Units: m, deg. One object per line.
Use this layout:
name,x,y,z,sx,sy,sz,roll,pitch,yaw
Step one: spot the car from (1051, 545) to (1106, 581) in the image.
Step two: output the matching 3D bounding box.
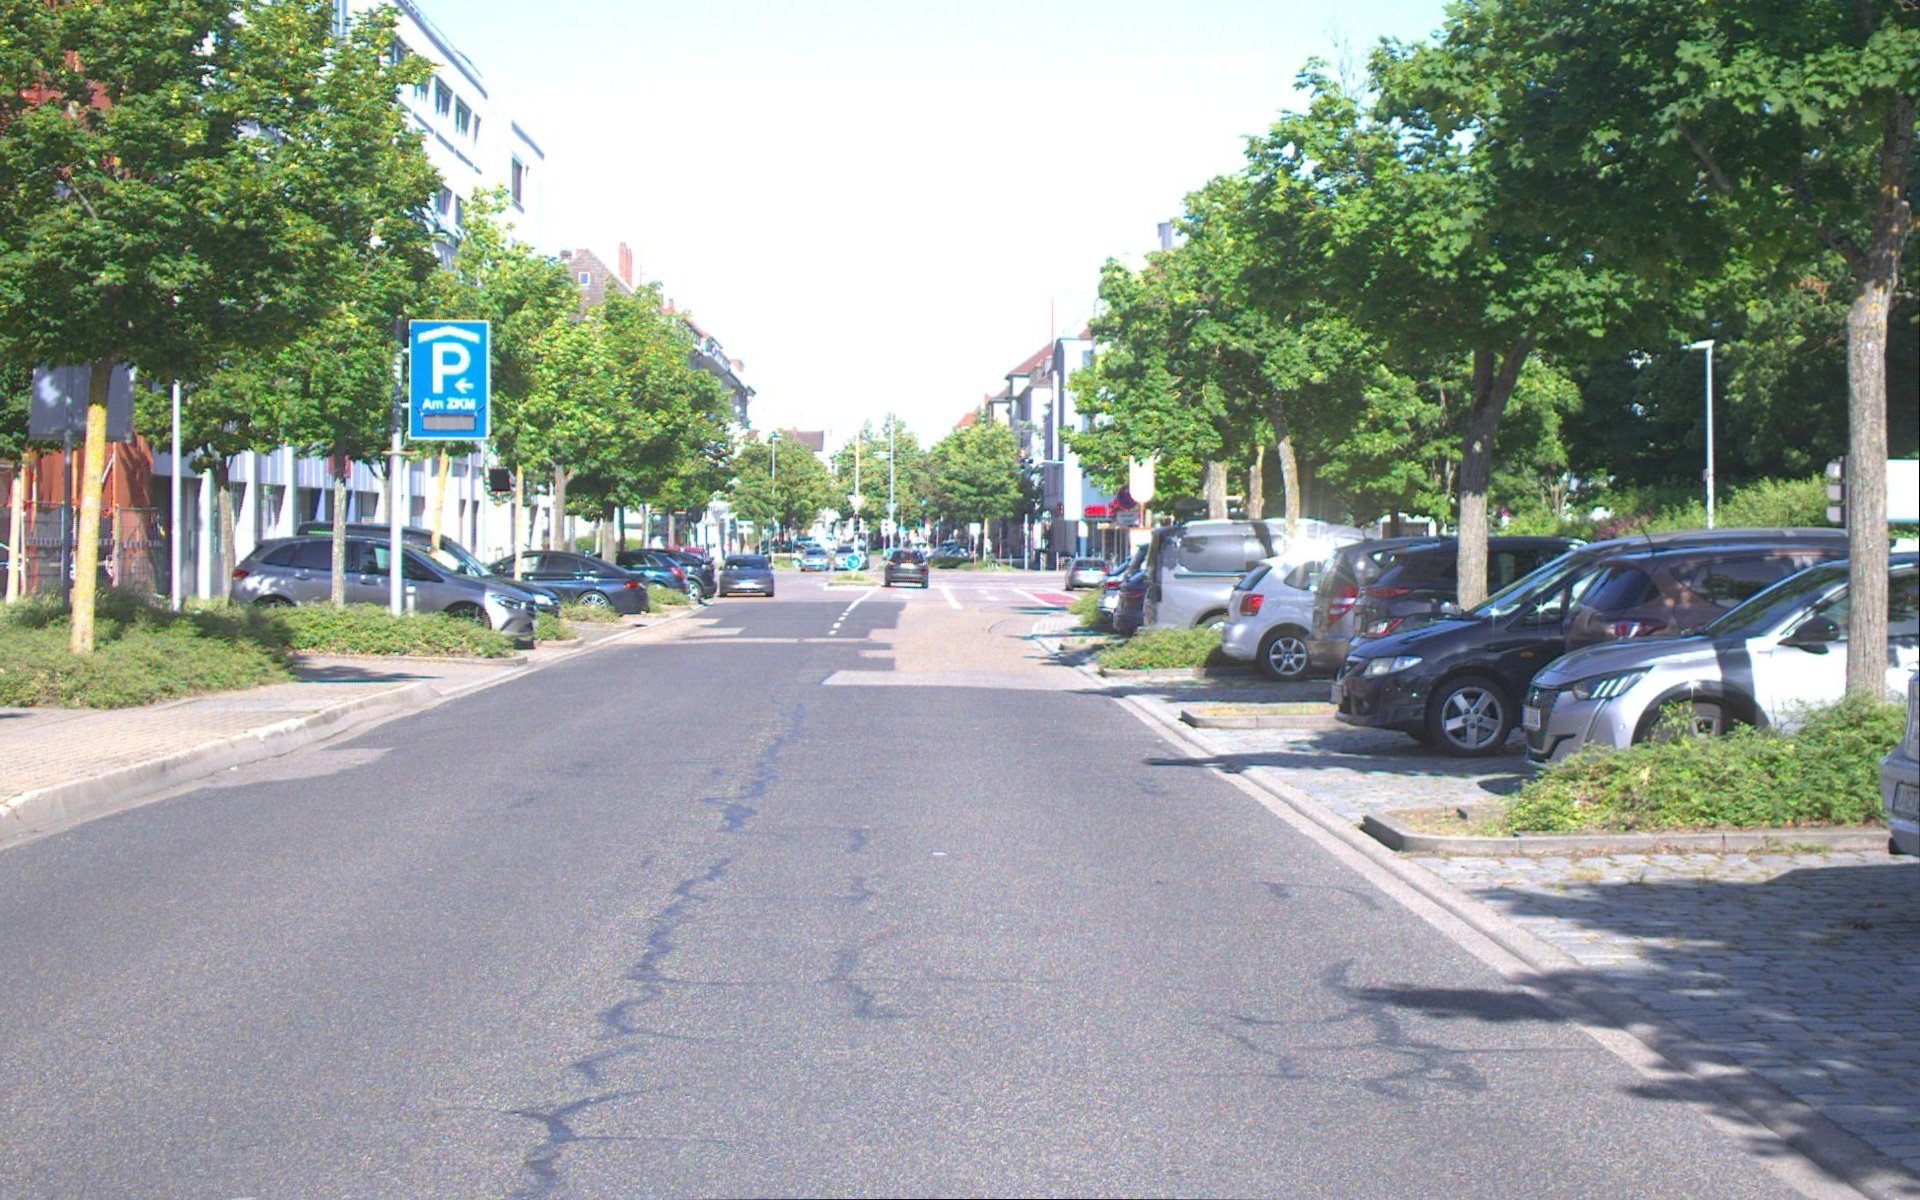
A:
car,5.078,-1.610,147.808,1.989,1.469,4.111,0,2,-3

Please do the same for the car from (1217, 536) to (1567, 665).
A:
car,4.918,-0.005,39.526,3.765,1.454,1.818,0,1,-1

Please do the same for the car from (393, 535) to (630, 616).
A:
car,-8.397,-0.478,64.646,4.330,1.469,1.818,0,2,-4

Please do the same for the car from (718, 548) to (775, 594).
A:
car,-7.251,-1.007,116.907,1.811,1.469,4.111,0,2,-2

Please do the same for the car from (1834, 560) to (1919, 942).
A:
car,5.614,0.529,13.190,4.062,1.421,1.742,-1,1,1

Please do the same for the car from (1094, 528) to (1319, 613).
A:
car,4.343,-0.513,60.768,3.913,1.469,1.757,0,-1,3

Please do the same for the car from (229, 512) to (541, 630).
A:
car,-8.261,-0.431,49.658,4.261,1.660,1.599,0,2,-1

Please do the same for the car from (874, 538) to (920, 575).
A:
car,-2.624,-1.834,143.722,1.812,1.469,4.111,0,2,0

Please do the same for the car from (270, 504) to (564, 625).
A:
car,-8.533,-0.578,54.257,4.331,1.855,1.818,0,2,1

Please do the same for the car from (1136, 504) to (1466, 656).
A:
car,4.273,-0.266,43.476,3.987,1.873,1.683,0,2,0

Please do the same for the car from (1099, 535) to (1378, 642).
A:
car,3.968,-0.185,49.276,3.913,1.469,1.795,0,2,3

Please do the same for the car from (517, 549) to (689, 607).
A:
car,-9.265,-0.580,89.462,4.331,1.469,1.818,0,2,-1

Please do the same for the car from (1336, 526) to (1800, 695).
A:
car,5.600,0.090,32.036,3.987,1.533,1.862,0,0,0

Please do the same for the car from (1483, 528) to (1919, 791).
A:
car,5.189,0.322,20.297,3.900,1.481,1.743,0,1,-1

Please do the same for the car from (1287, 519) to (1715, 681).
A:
car,5.391,-0.013,34.685,3.987,1.576,2.032,0,1,0

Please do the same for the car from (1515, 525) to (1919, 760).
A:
car,5.797,0.257,22.938,3.861,1.499,1.652,0,1,-3

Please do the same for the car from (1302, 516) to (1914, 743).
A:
car,4.707,0.186,25.342,4.144,1.574,1.741,-1,1,-2
